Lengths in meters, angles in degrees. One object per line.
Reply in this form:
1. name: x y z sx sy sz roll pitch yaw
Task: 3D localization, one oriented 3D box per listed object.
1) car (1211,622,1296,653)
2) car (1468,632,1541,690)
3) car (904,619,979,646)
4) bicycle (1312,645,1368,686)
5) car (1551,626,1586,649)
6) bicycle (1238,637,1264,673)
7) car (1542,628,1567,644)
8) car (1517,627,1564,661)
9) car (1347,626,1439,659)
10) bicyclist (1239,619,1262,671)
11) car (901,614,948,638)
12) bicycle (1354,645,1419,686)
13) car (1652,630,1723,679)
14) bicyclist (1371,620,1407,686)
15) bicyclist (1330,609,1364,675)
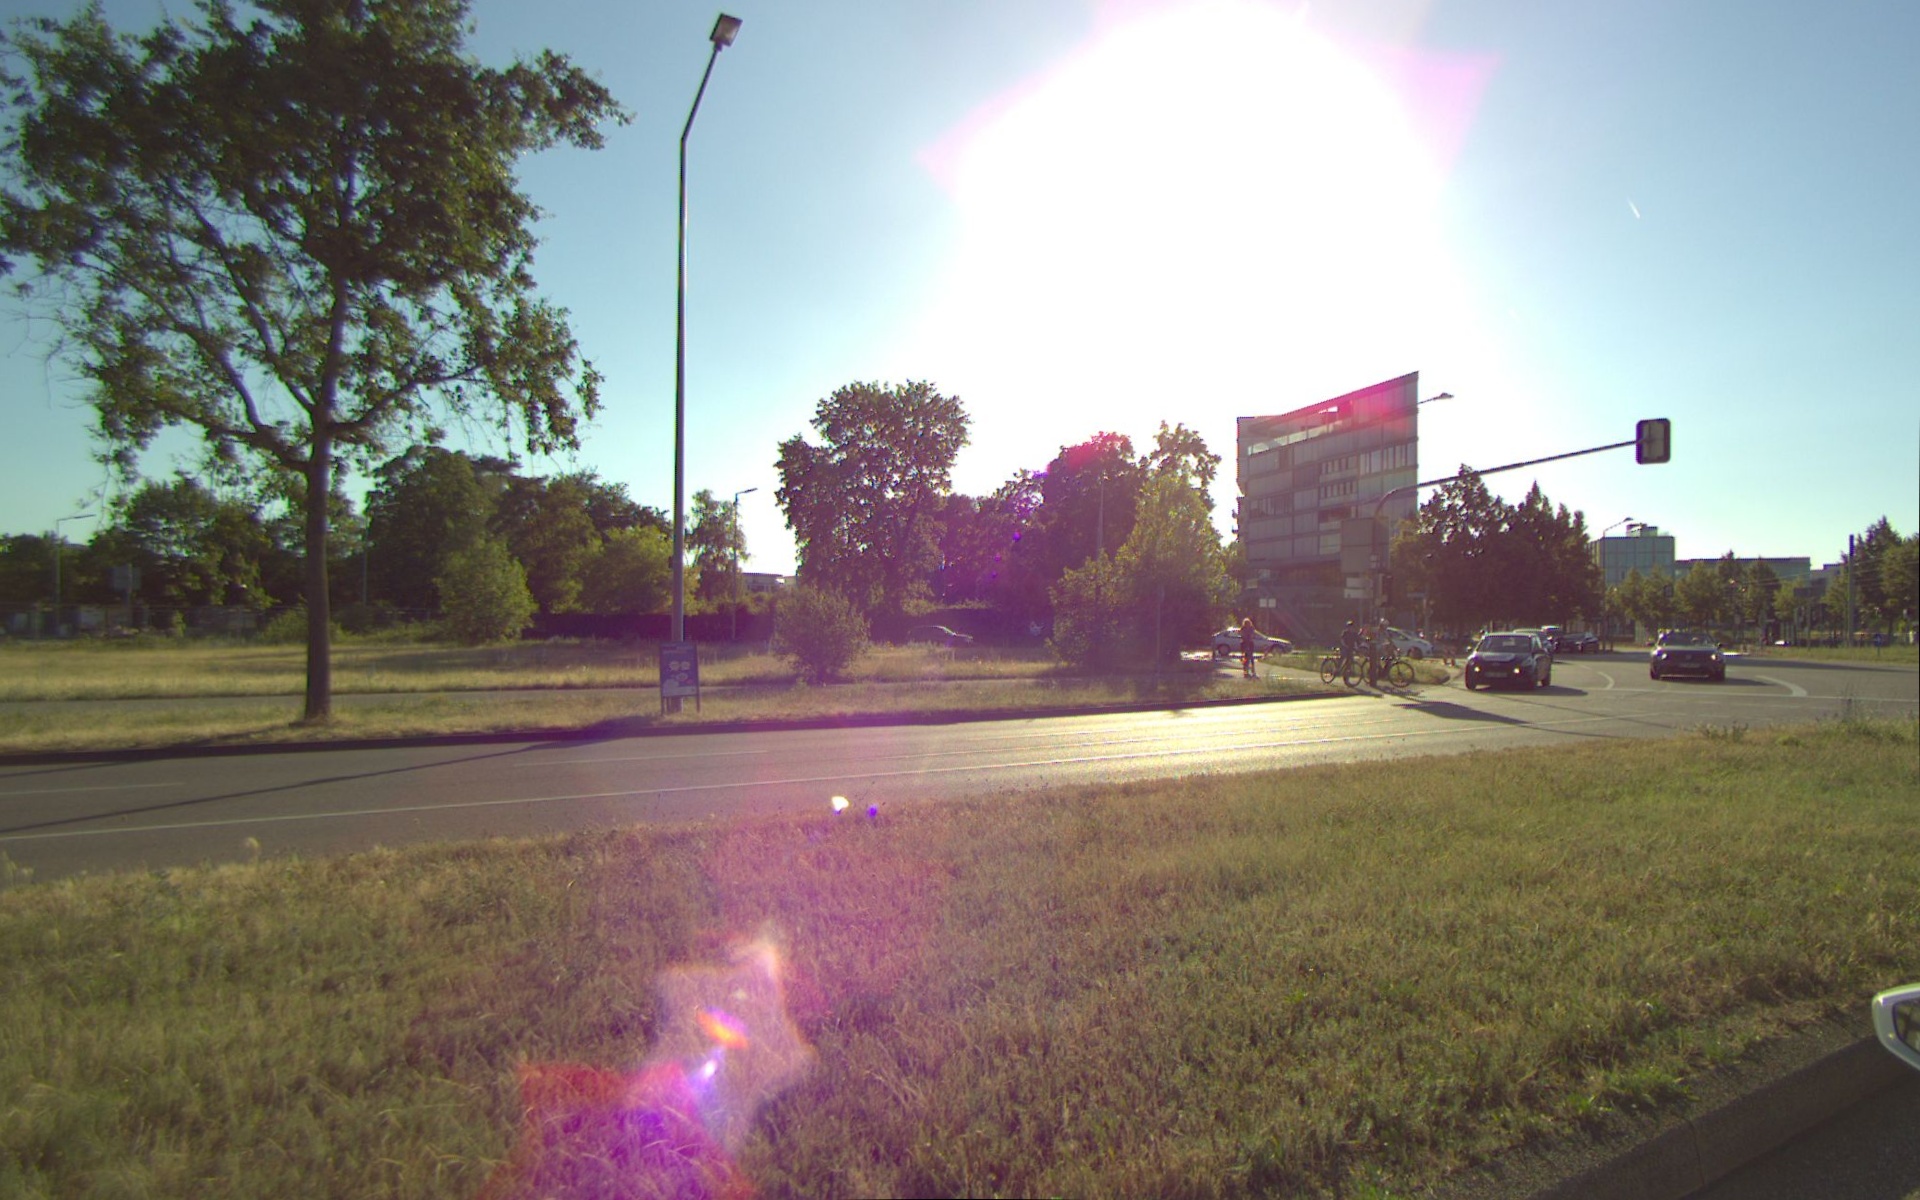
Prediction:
1. car: 15.345 1.951 52.487 4.223 1.528 1.876 0 -1 19
2. car: 15.011 1.627 27.622 1.643 1.460 3.609 -1 -2 30
3. car: -1.058 1.866 58.251 3.914 1.528 1.876 0 -1 19
4. bicycle: 10.717 1.837 28.388 0.496 1.033 1.909 1 0 -13
5. car: 39.742 2.450 65.696 1.480 1.473 3.461 0 -1 23
6. bicycle: 9.484 1.779 32.773 0.711 1.133 1.824 1 -1 13
7. car: 77.473 4.679 130.967 1.960 2.040 4.002 0 -1 17
8. car: 24.728 1.857 42.760 1.643 1.394 3.771 -2 -2 31
9. car: 21.252 2.066 49.297 3.909 1.528 1.843 -1 -1 34
10. bicyclist: 9.458 1.454 32.718 0.696 1.688 0.831 0 -1 14
11. car: -3.111 2.246 88.241 3.919 2.040 2.001 0 -1 5
12. bicycle: 12.079 1.847 28.519 0.497 1.033 1.905 1 0 -21
13. car: 22.442 1.643 30.934 1.646 1.394 4.133 -2 -2 37
14. bicyclist: 12.126 1.488 28.424 0.489 1.813 0.811 1 0 -21
15. bicyclist: 10.812 1.165 28.060 0.488 1.794 0.813 1 0 -14
